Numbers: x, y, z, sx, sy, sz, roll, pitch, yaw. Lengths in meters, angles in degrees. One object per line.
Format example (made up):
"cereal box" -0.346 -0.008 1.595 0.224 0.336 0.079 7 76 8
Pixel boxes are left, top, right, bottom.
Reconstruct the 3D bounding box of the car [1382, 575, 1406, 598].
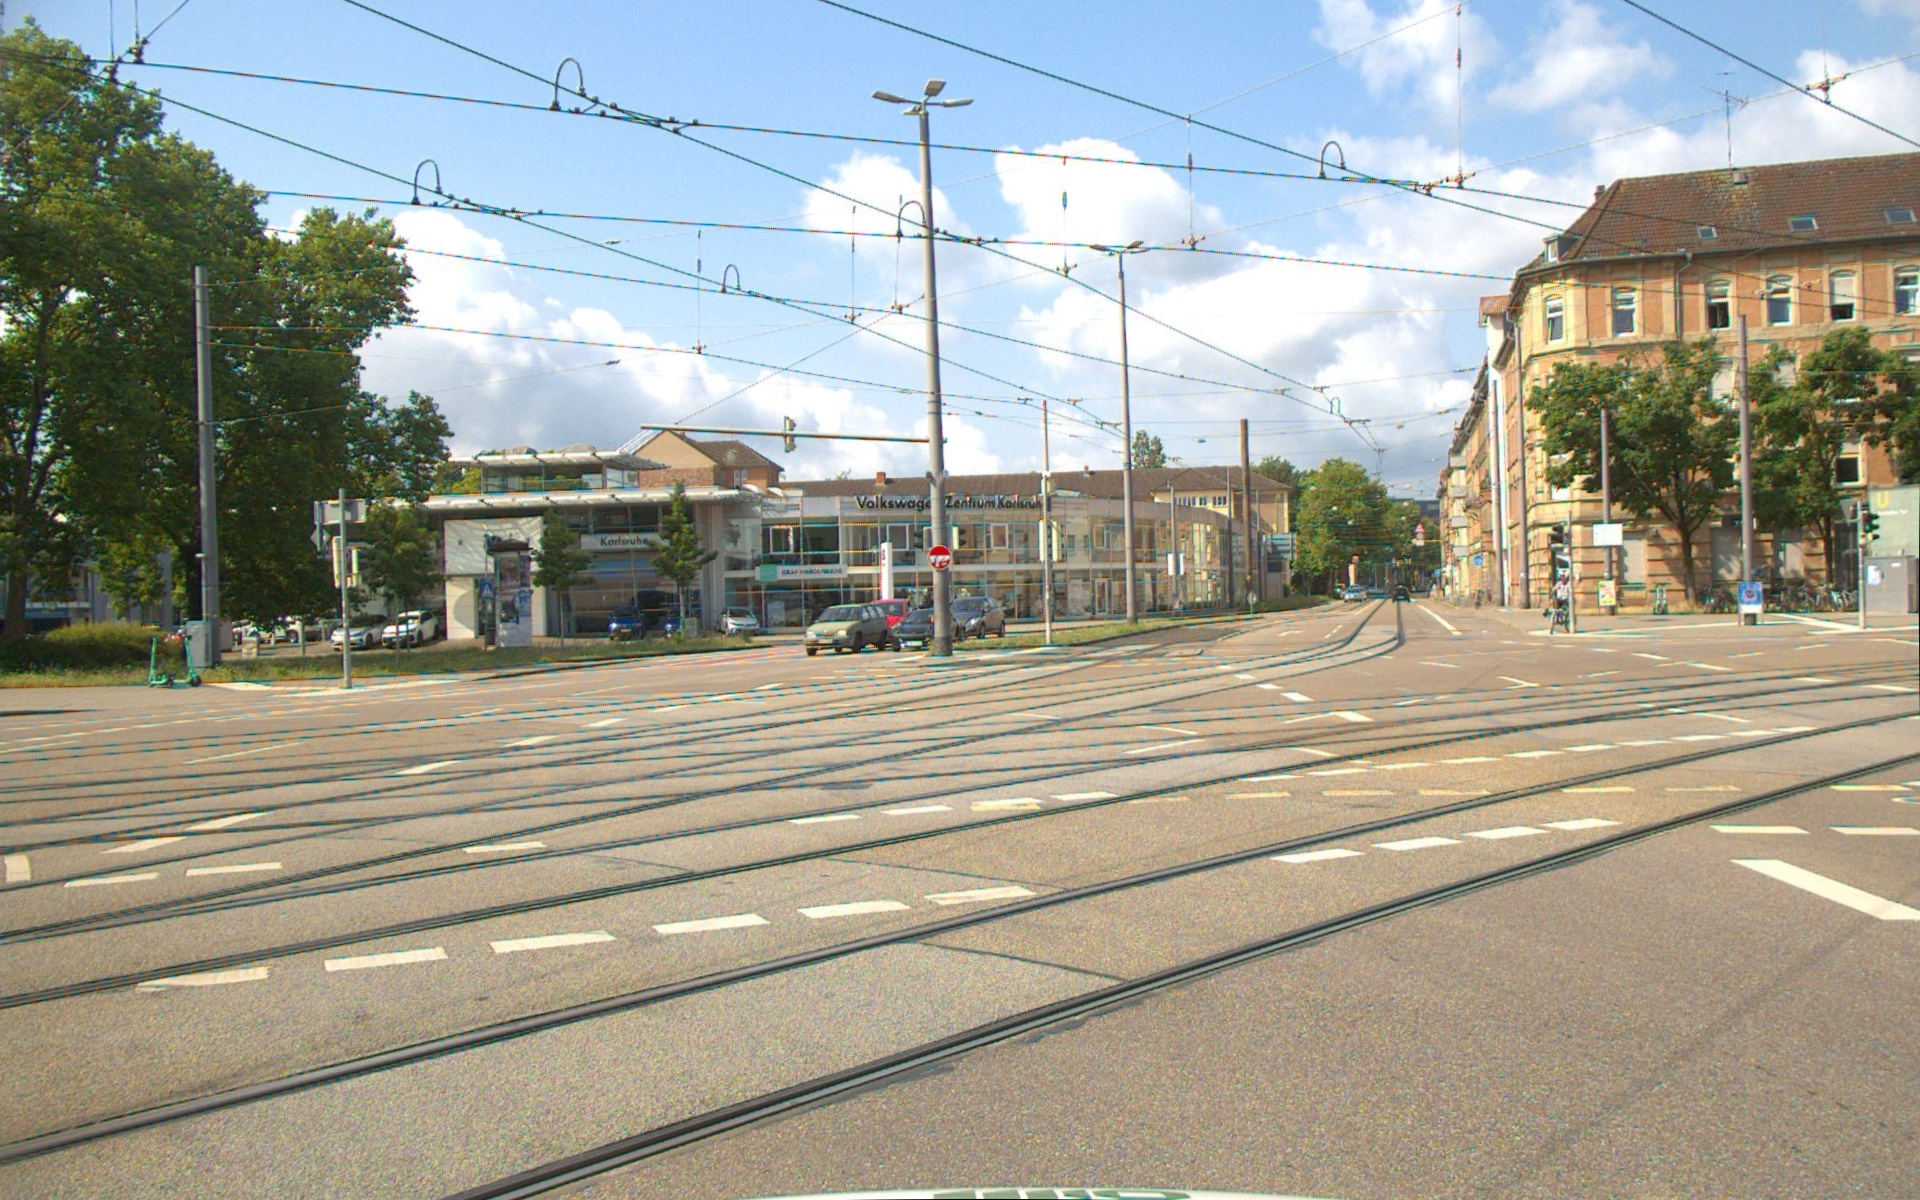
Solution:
"car" 41.493 -1.284 158.216 1.952 2.049 4.002 -2 0 18

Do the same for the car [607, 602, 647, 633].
"car" -17.264 0.893 85.859 1.884 1.470 3.991 -2 0 -10

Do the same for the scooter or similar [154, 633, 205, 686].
"scooter or similar" -17.985 1.376 38.138 0.374 1.177 0.926 6 1 34

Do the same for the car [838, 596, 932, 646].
"car" -2.470 0.676 55.399 1.951 1.545 4.003 2 0 16

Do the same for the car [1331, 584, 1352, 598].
"car" 39.104 -0.909 169.543 1.951 1.355 4.004 -2 0 12

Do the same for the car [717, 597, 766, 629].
"car" -11.465 0.662 86.850 1.880 1.579 4.001 -2 0 2

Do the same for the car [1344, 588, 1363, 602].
"car" 43.346 -0.519 182.101 1.951 1.517 4.003 1 0 12

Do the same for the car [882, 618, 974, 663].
"car" -0.898 1.165 48.671 1.587 1.182 4.003 2 0 16

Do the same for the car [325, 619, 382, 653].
"car" -31.717 1.864 86.619 1.956 1.601 3.993 2 0 -8

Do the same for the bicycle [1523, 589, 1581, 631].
"bicycle" 17.511 0.272 48.879 0.883 1.191 2.669 1 1 37

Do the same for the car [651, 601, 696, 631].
"car" -14.774 0.818 85.496 1.882 1.470 3.996 -2 0 -5

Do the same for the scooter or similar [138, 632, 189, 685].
"scooter or similar" -18.493 1.358 38.416 0.922 1.177 0.376 4 1 -44

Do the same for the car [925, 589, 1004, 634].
"car" 0.209 0.419 62.585 1.951 1.579 4.003 -2 0 15

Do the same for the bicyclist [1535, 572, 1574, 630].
"bicyclist" 17.629 0.014 49.025 0.770 1.687 1.192 1 1 37

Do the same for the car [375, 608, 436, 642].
"car" -28.918 1.301 86.408 2.027 1.632 3.997 -2 0 -4

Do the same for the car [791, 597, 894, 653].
"car" -3.454 0.730 49.296 1.782 1.539 4.003 2 0 16

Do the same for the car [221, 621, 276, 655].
"car" -37.205 1.974 86.549 1.650 1.624 3.992 2 0 -9
